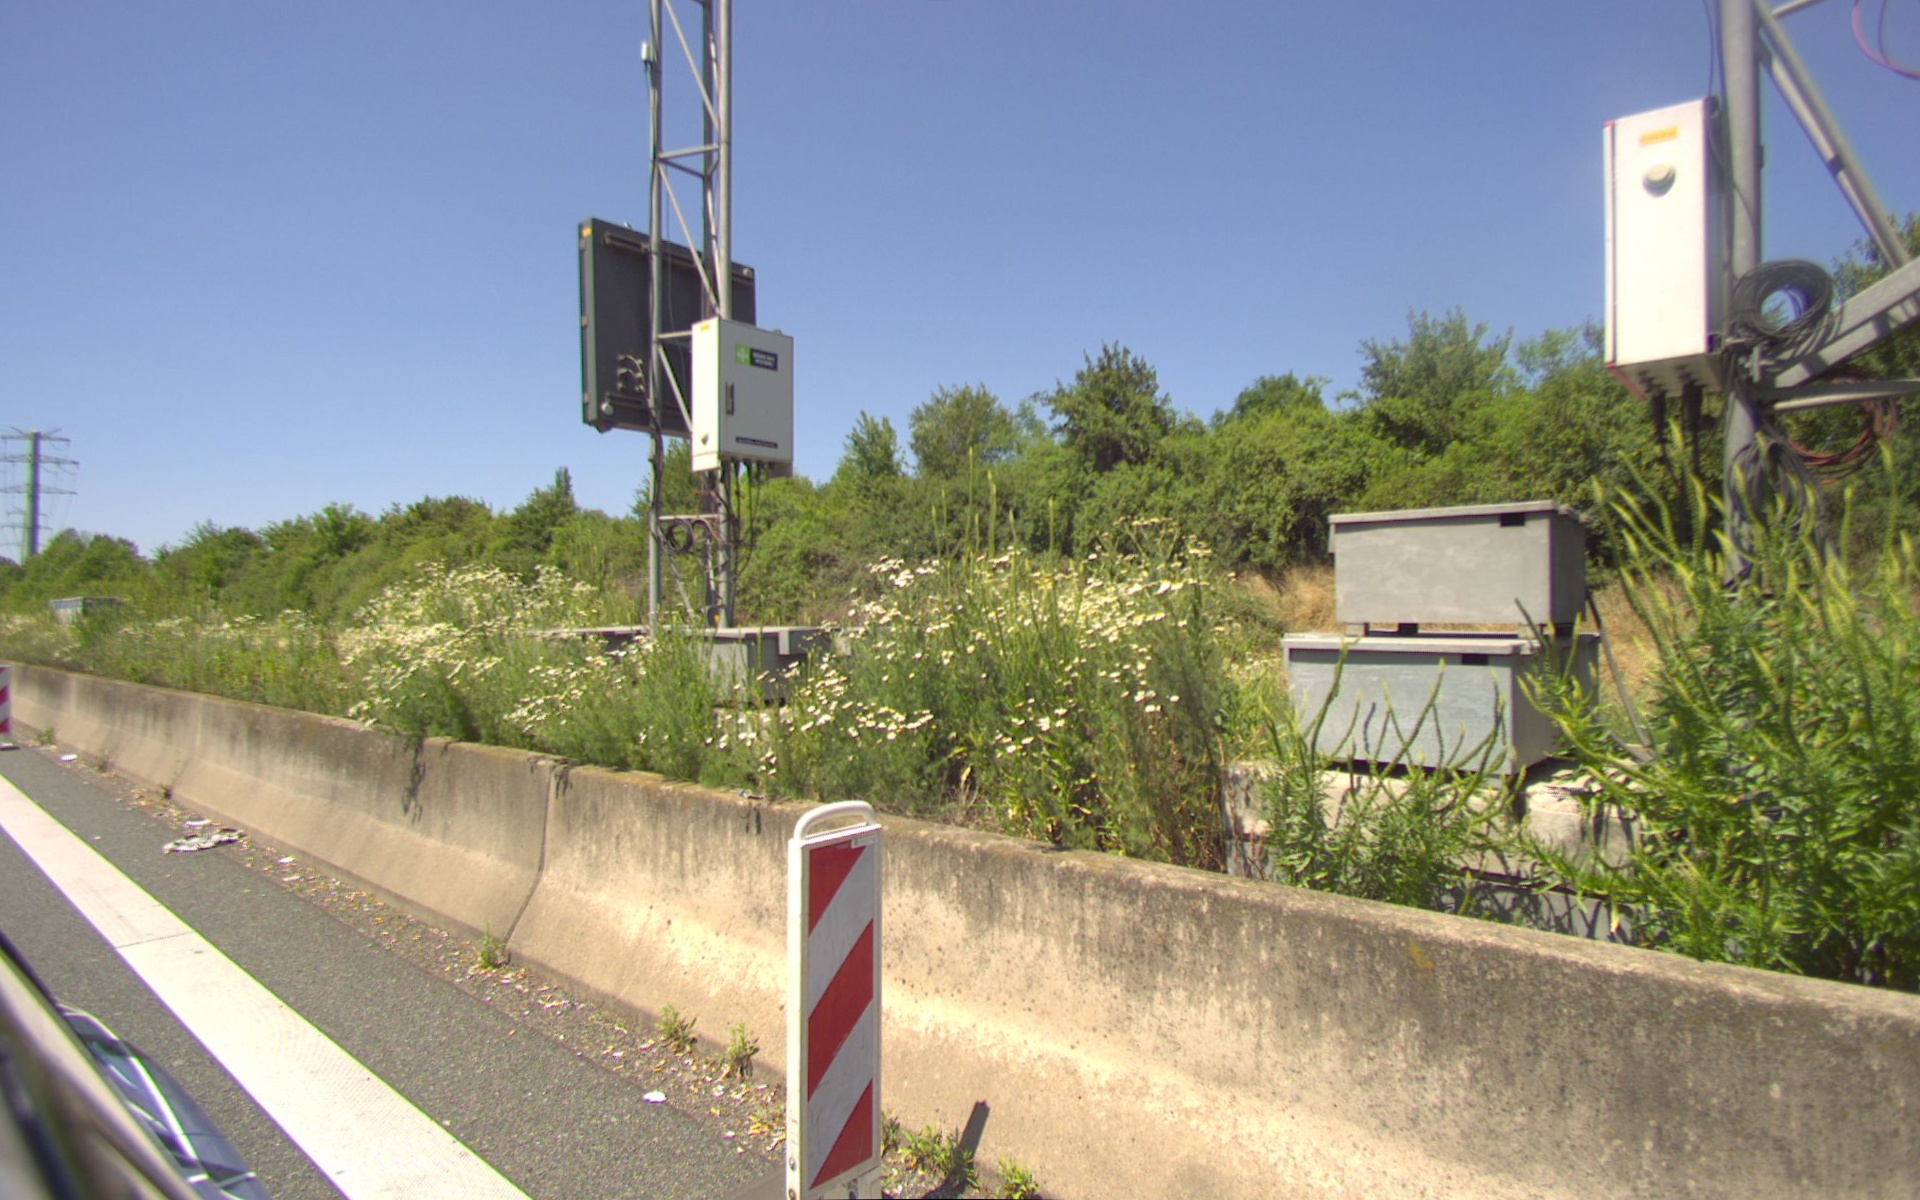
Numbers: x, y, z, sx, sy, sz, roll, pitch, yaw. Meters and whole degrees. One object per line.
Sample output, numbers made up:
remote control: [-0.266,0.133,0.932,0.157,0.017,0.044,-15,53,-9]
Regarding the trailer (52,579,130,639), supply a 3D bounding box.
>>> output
trailer: [-69.147,0.728,80.366,12.900,4.437,2.929,-1,0,41]
